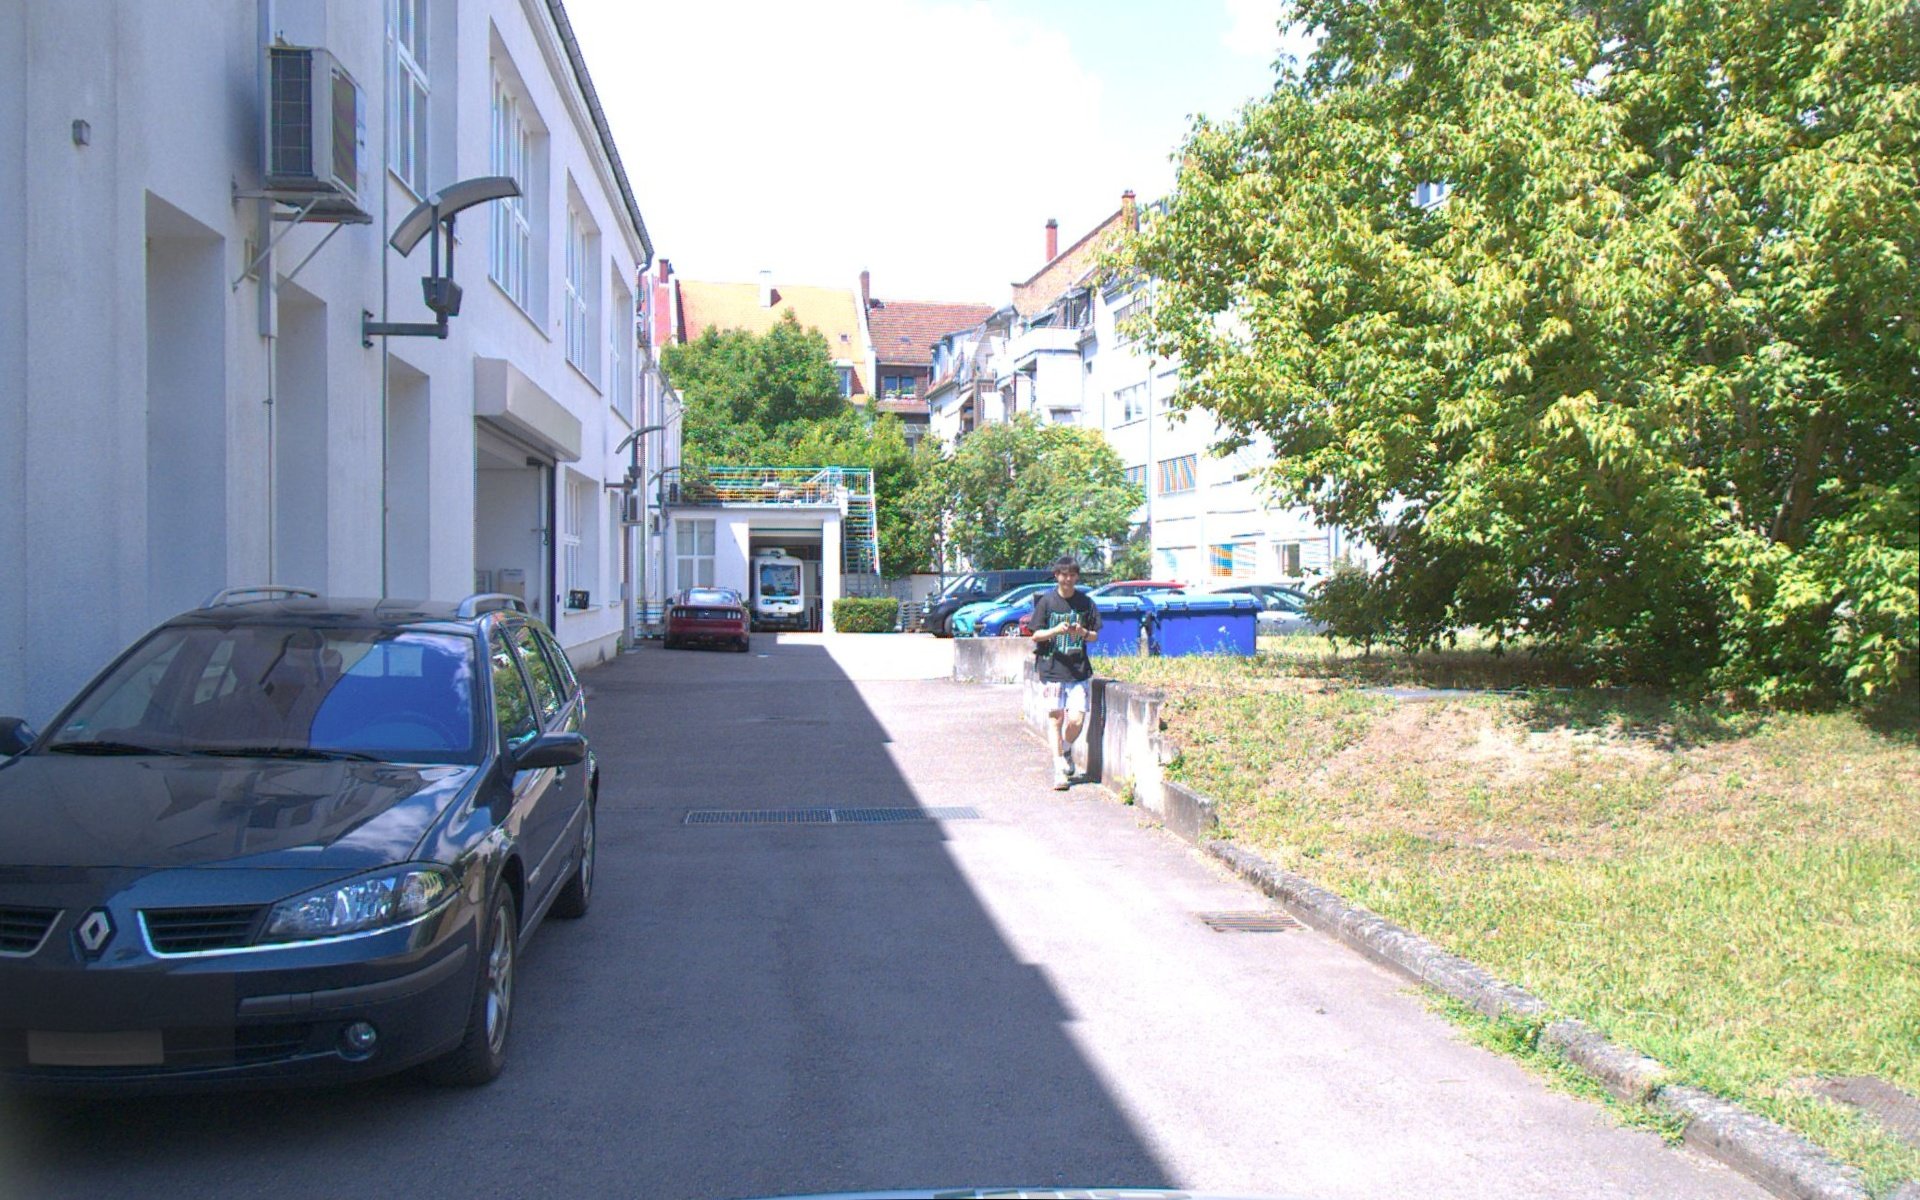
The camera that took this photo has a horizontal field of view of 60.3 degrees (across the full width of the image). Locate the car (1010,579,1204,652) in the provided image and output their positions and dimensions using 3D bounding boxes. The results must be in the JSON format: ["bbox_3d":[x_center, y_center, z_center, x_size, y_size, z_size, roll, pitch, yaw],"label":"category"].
[{"bbox_3d":[3.166,0.315,35.985,3.913,1.504,1.801,-1,1,-9],"label":"car"}]

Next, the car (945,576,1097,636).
[{"bbox_3d":[1.652,0.146,45.477,3.913,1.561,1.801,-1,1,-9],"label":"car"}]

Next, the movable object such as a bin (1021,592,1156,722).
[{"bbox_3d":[1.386,0.595,18.096,1.312,1.350,1.159,-1,1,-4],"label":"movable object such as a bin"}]

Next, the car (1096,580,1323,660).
[{"bbox_3d":[4.688,0.354,31.354,3.913,1.414,1.801,-1,1,-9],"label":"car"}]

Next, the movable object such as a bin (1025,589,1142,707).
[{"bbox_3d":[1.468,0.553,19.868,1.170,1.350,1.158,-1,1,-9],"label":"movable object such as a bin"}]

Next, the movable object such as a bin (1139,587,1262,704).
[{"bbox_3d":[2.897,0.530,20.018,1.193,1.350,1.158,-1,1,-9],"label":"movable object such as a bin"}]

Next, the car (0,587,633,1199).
[{"bbox_3d":[-2.299,0.705,6.066,1.721,1.454,4.381,0,1,-6],"label":"car"}]

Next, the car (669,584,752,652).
[{"bbox_3d":[-5.614,0.358,37.588,1.764,1.414,3.994,-1,1,-7],"label":"car"}]

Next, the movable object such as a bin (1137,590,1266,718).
[{"bbox_3d":[2.646,0.573,18.273,1.192,1.350,1.159,-1,1,-4],"label":"movable object such as a bin"}]

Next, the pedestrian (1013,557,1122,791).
[{"bbox_3d":[0.835,0.556,13.007,0.742,1.786,0.750,0,1,-6],"label":"pedestrian"}]

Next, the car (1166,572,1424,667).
[{"bbox_3d":[5.611,0.300,27.931,3.913,1.504,1.801,-1,1,-9],"label":"car"}]

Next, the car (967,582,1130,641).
[{"bbox_3d":[2.244,0.279,42.553,3.913,1.414,1.801,-1,1,-9],"label":"car"}]

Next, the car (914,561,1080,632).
[{"bbox_3d":[1.061,-0.126,48.461,4.590,1.992,2.073,-1,1,-9],"label":"car"}]

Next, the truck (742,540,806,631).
[{"bbox_3d":[-6.396,-0.507,56.604,1.756,2.988,4.640,0,1,-12],"label":"truck"}]
